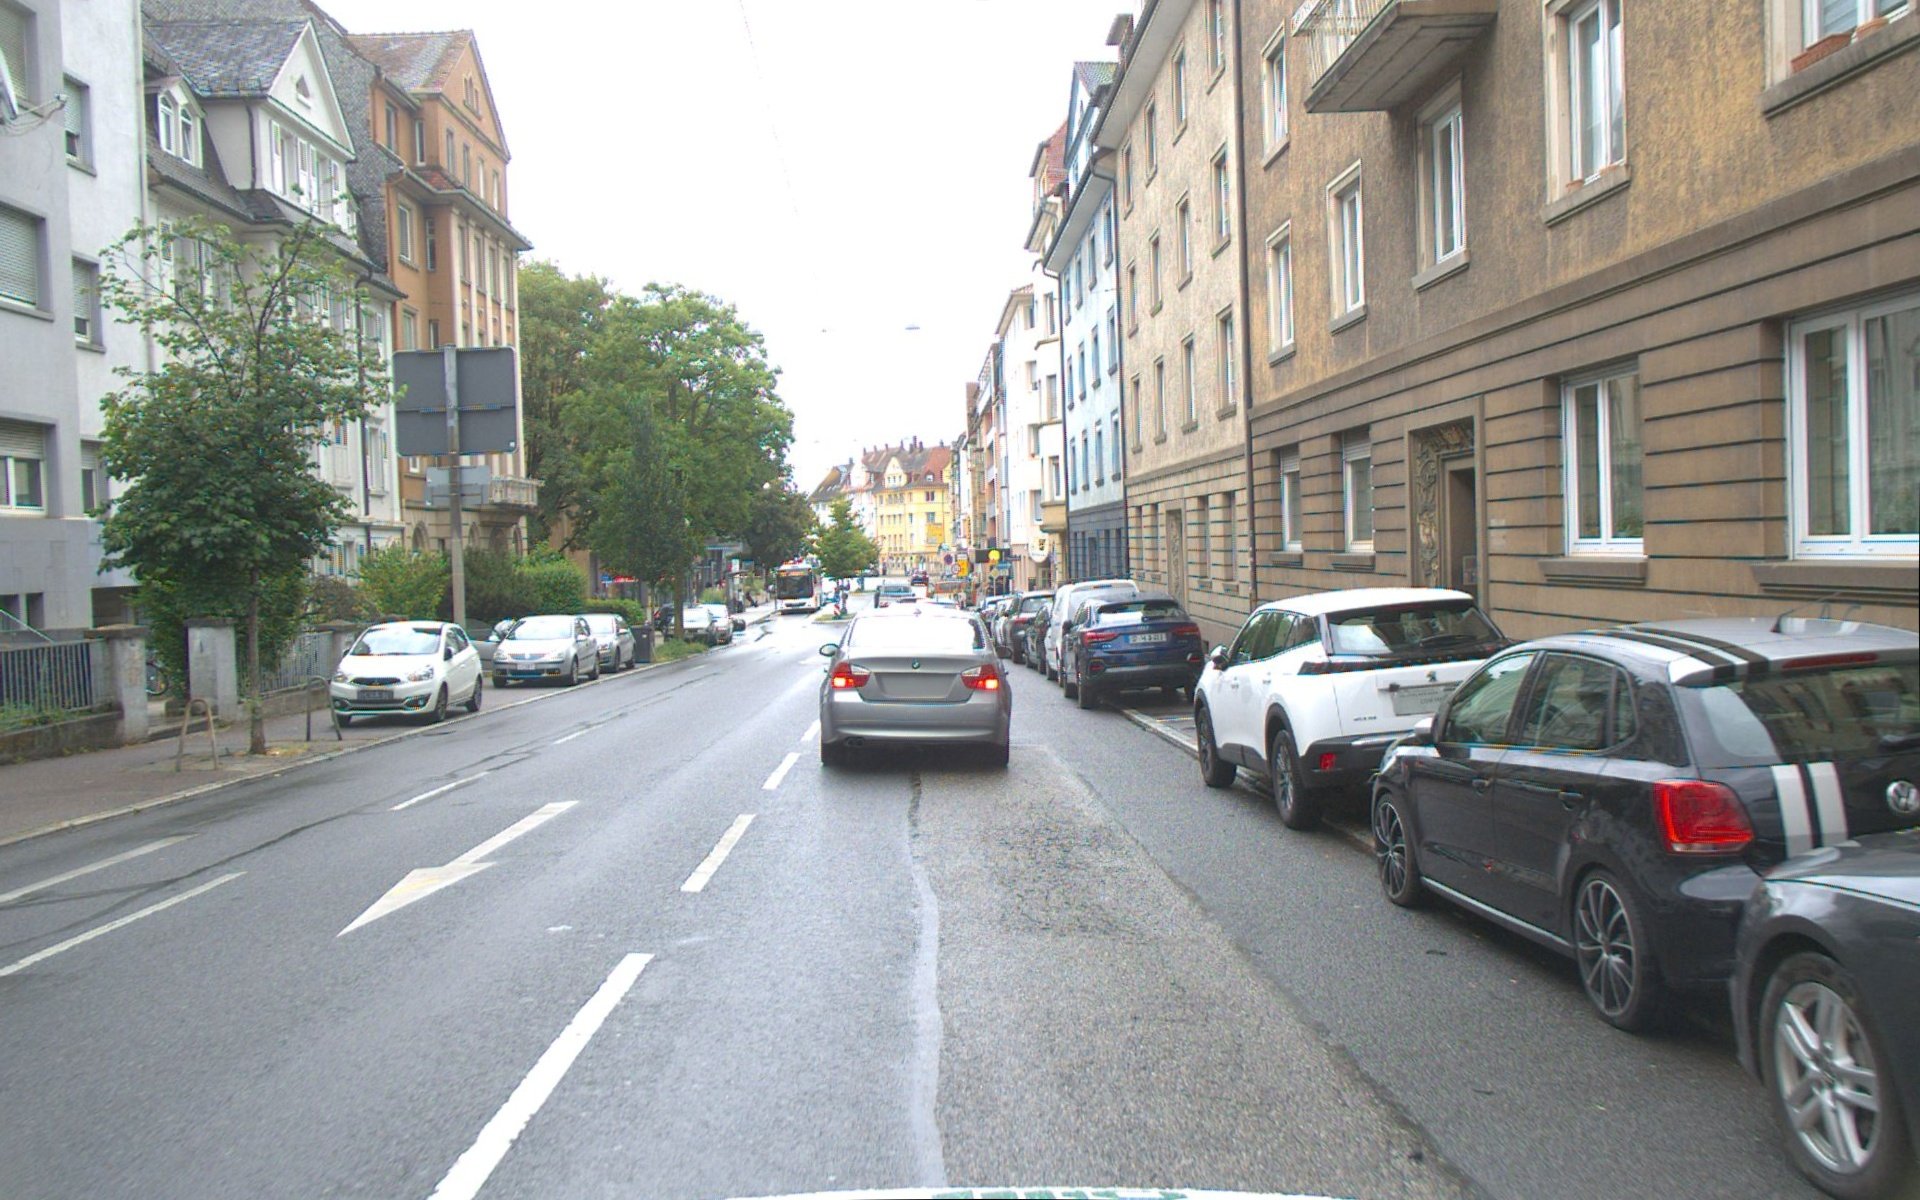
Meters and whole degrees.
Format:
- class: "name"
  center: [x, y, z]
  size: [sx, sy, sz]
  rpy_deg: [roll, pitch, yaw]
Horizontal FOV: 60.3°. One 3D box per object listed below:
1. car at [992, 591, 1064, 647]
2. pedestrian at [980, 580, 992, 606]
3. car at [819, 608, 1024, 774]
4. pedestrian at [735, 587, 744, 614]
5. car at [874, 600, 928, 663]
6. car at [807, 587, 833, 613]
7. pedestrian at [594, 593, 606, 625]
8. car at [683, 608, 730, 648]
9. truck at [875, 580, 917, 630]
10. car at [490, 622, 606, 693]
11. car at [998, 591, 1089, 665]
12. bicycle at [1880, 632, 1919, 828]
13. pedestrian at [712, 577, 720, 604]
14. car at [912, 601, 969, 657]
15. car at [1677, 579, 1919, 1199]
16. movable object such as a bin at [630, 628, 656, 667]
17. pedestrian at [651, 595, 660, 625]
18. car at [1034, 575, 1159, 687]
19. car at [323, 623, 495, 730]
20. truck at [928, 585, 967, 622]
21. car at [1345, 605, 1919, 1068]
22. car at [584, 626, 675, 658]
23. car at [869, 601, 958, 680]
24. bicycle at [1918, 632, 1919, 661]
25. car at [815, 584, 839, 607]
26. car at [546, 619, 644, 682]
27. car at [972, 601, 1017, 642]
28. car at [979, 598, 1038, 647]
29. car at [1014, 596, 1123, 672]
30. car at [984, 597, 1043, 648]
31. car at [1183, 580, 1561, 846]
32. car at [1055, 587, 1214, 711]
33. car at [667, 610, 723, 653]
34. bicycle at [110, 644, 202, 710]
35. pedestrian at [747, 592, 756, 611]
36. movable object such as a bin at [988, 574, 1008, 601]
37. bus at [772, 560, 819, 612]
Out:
- class: "car"
  center: [1.934, 0.526, 48.201]
  size: [1.695, 1.454, 3.972]
  rpy_deg: [-4, 0, -2]
- class: "pedestrian"
  center: [1.682, -0.462, 107.181]
  size: [0.734, 1.690, 0.755]
  rpy_deg: [1, -1, 2]
- class: "car"
  center: [-0.379, 0.788, 15.500]
  size: [1.720, 1.386, 3.163]
  rpy_deg: [0, -1, -2]
- class: "pedestrian"
  center: [-14.541, 0.045, 109.128]
  size: [0.533, 1.739, 0.465]
  rpy_deg: [1, -1, -9]
- class: "car"
  center: [-2.074, 1.089, 56.901]
  size: [1.671, 2.049, 3.996]
  rpy_deg: [1, -1, -4]
- class: "car"
  center: [-11.476, 0.005, 135.553]
  size: [1.954, 2.049, 3.997]
  rpy_deg: [0, -1, -3]
- class: "pedestrian"
  center: [-21.042, 0.514, 96.659]
  size: [0.622, 1.847, 0.636]
  rpy_deg: [-2, 1, -11]
- class: "car"
  center: [-10.075, 1.084, 66.006]
  size: [1.600, 1.479, 3.835]
  rpy_deg: [-1, 0, -6]
- class: "truck"
  center: [-3.472, 0.327, 89.716]
  size: [2.172, 2.589, 4.777]
  rpy_deg: [1, -1, -3]
- class: "car"
  center: [-8.983, 1.212, 36.338]
  size: [1.648, 1.414, 3.908]
  rpy_deg: [-1, 0, -1]
- class: "car"
  center: [2.033, 0.677, 41.389]
  size: [1.804, 1.649, 4.206]
  rpy_deg: [-3, 0, -3]
- class: "bicycle"
  center: [5.547, 0.724, 8.594]
  size: [0.242, 1.092, 2.105]
  rpy_deg: [-4, -1, -1]
- class: "pedestrian"
  center: [-16.599, -0.659, 112.566]
  size: [0.533, 1.821, 0.507]
  rpy_deg: [1, -1, -11]
- class: "car"
  center: [-0.507, 0.753, 43.395]
  size: [1.406, 1.380, 3.761]
  rpy_deg: [1, -1, 0]
- class: "car"
  center: [3.144, 0.655, 2.742]
  size: [1.742, 1.505, 4.585]
  rpy_deg: [-2, -1, -2]
- class: "movable object such as a bin"
  center: [-9.064, 1.348, 47.286]
  size: [0.617, 1.076, 0.600]
  rpy_deg: [-2, -1, -2]
- class: "pedestrian"
  center: [-18.929, 0.626, 102.783]
  size: [0.456, 1.821, 0.543]
  rpy_deg: [1, -1, -9]
- class: "car"
  center: [2.474, 0.537, 30.851]
  size: [1.755, 1.849, 4.078]
  rpy_deg: [-3, 0, -2]
- class: "car"
  center: [-8.619, 1.150, 26.178]
  size: [1.613, 1.534, 3.794]
  rpy_deg: [-1, -1, -3]
- class: "truck"
  center: [-0.811, 0.224, 102.197]
  size: [2.171, 2.154, 4.649]
  rpy_deg: [2, -1, -3]
- class: "car"
  center: [3.039, 0.795, 7.300]
  size: [1.599, 1.504, 3.732]
  rpy_deg: [1, 0, -3]
- class: "car"
  center: [-14.681, 1.861, 73.669]
  size: [3.740, 1.414, 1.741]
  rpy_deg: [0, -1, -3]
- class: "car"
  center: [-0.949, 0.776, 32.383]
  size: [1.570, 1.445, 3.285]
  rpy_deg: [1, -1, -4]
- class: "bicycle"
  center: [5.789, 0.709, 8.629]
  size: [0.242, 1.092, 2.105]
  rpy_deg: [-4, -1, -1]
- class: "car"
  center: [-12.162, -0.393, 151.456]
  size: [1.954, 2.049, 3.997]
  rpy_deg: [1, -1, -3]
- class: "car"
  center: [-9.271, 1.248, 42.280]
  size: [1.649, 1.414, 3.935]
  rpy_deg: [-3, 0, -1]
- class: "car"
  center: [1.331, 0.829, 65.348]
  size: [1.538, 1.489, 4.087]
  rpy_deg: [-3, 0, -1]
- class: "car"
  center: [1.692, 0.781, 58.814]
  size: [1.781, 1.585, 4.291]
  rpy_deg: [-3, 0, -1]
- class: "car"
  center: [2.296, 0.712, 36.063]
  size: [1.804, 1.433, 4.385]
  rpy_deg: [-4, 0, -3]
- class: "car"
  center: [1.682, 0.677, 52.726]
  size: [1.551, 1.454, 3.593]
  rpy_deg: [-4, 0, -2]
- class: "car"
  center: [2.908, 0.737, 12.611]
  size: [1.599, 1.667, 4.192]
  rpy_deg: [1, 0, -3]
- class: "car"
  center: [2.489, 0.662, 24.584]
  size: [1.754, 1.575, 4.224]
  rpy_deg: [-3, 0, -1]
- class: "car"
  center: [-9.821, 1.135, 61.546]
  size: [1.621, 1.479, 3.939]
  rpy_deg: [-2, 0, -4]
- class: "bicycle"
  center: [-14.494, 1.383, 29.829]
  size: [1.392, 1.108, 0.484]
  rpy_deg: [-2, 0, -2]
- class: "pedestrian"
  center: [-15.730, 0.113, 124.813]
  size: [0.607, 1.402, 0.544]
  rpy_deg: [1, -1, -1]
- class: "movable object such as a bin"
  center: [2.488, -0.810, 109.296]
  size: [1.100, 1.732, 1.432]
  rpy_deg: [-2, -1, -4]
- class: "bus"
  center: [-11.361, -0.886, 115.107]
  size: [2.627, 3.257, 11.948]
  rpy_deg: [1, -1, -3]
